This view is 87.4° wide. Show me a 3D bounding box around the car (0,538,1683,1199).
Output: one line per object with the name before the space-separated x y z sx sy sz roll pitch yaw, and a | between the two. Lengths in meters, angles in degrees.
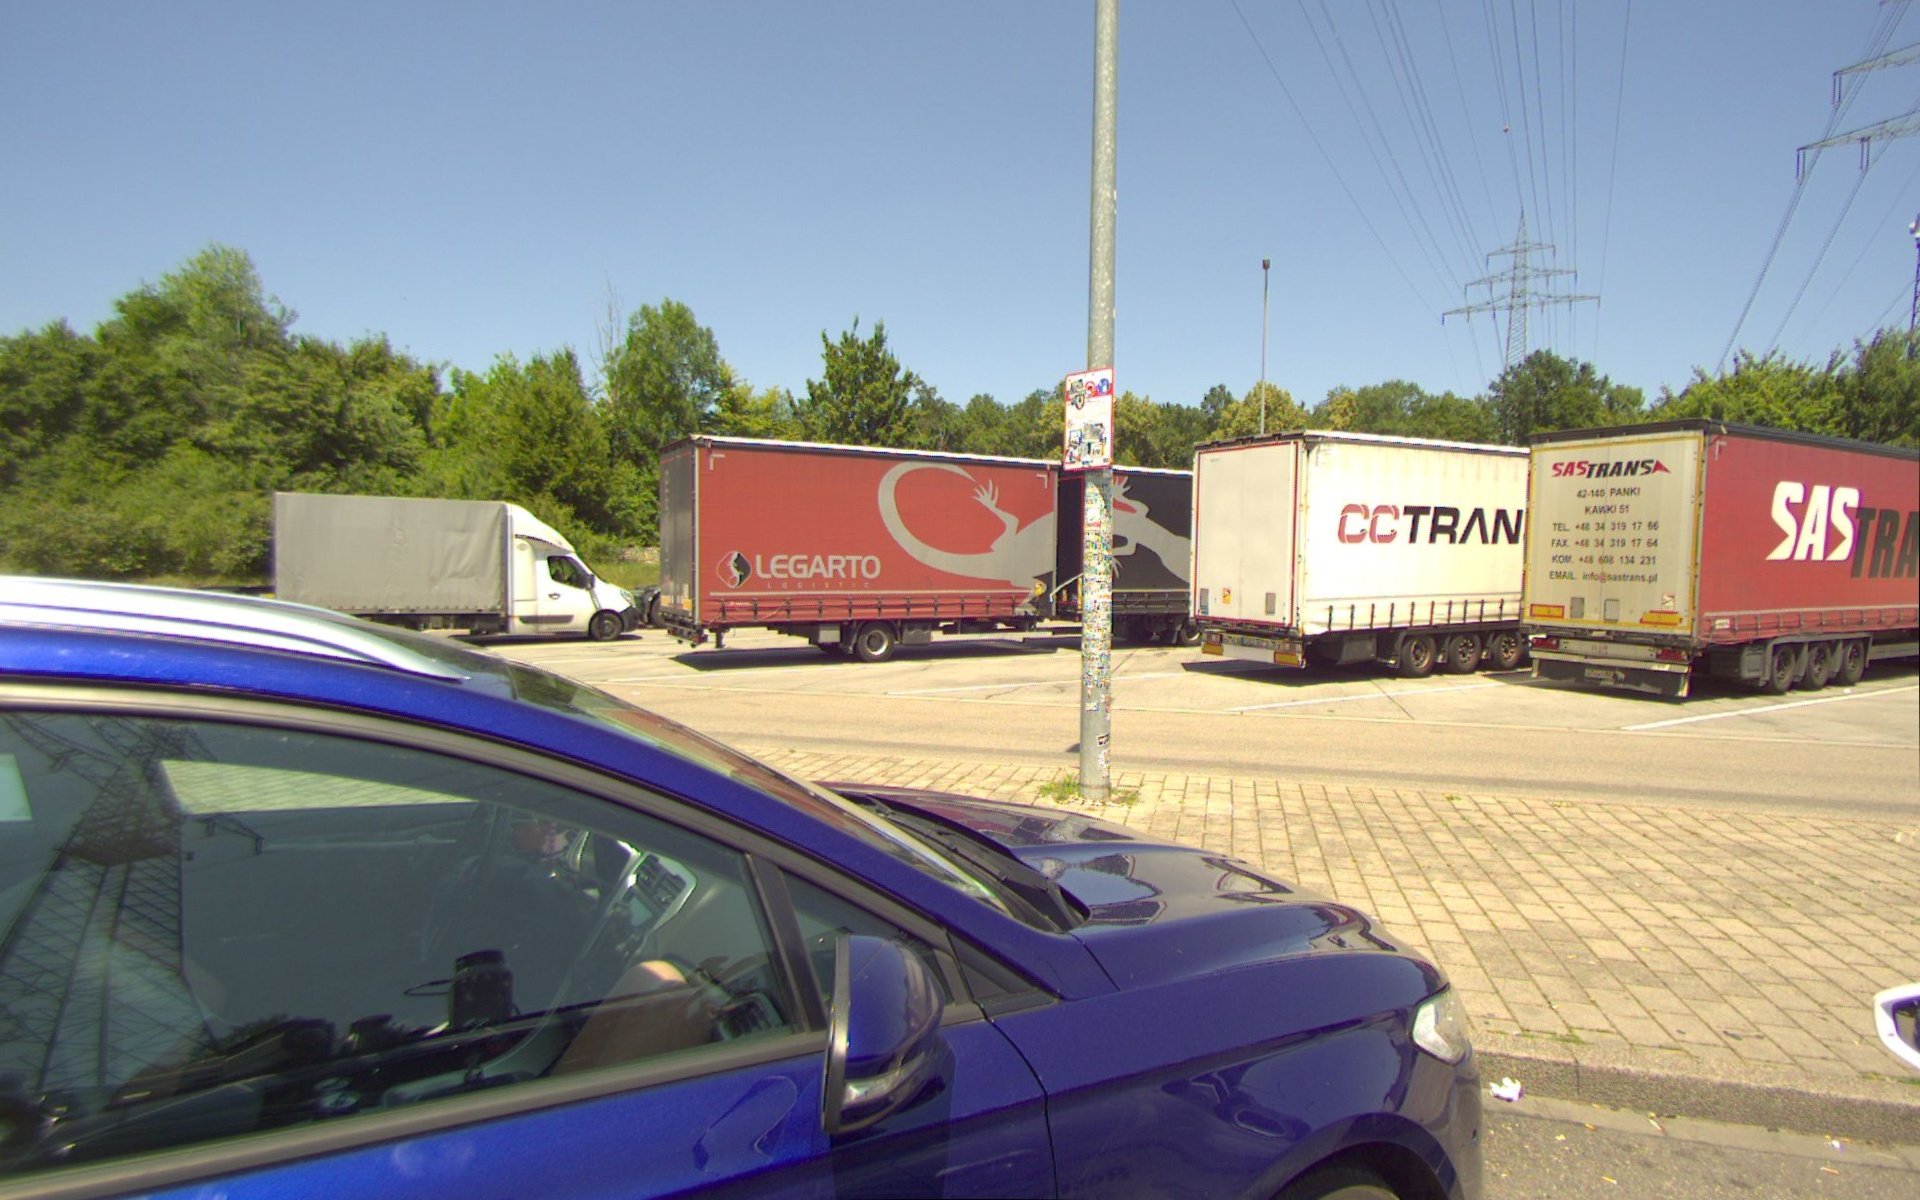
car | -1.051 0.679 1.482 4.444 1.511 1.859 0 2 -32

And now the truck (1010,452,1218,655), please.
truck | 3.556 -1.064 23.439 3.947 4.298 2.723 -1 3 -30

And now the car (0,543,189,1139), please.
car | -4.627 0.602 2.215 4.444 1.520 1.762 0 2 -32

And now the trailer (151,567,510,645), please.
trailer | -15.178 0.058 24.884 7.204 1.711 2.249 -1 3 -29

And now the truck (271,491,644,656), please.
truck | -11.203 -0.622 23.014 7.204 3.279 2.727 -1 3 -29

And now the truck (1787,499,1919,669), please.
truck | 21.196 -0.392 21.990 5.829 3.373 2.837 -1 3 -30

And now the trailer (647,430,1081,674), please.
trailer | -1.757 -0.899 20.318 8.376 4.141 2.722 -1 3 -30

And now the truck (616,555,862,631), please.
truck | -6.360 -0.228 29.264 6.733 2.041 1.987 -1 1 -26

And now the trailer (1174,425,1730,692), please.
trailer | 10.573 -0.799 20.325 13.962 4.141 2.782 -1 3 -30

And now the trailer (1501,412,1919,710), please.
trailer | 15.593 -0.691 18.713 13.962 4.141 2.777 -1 3 -30
